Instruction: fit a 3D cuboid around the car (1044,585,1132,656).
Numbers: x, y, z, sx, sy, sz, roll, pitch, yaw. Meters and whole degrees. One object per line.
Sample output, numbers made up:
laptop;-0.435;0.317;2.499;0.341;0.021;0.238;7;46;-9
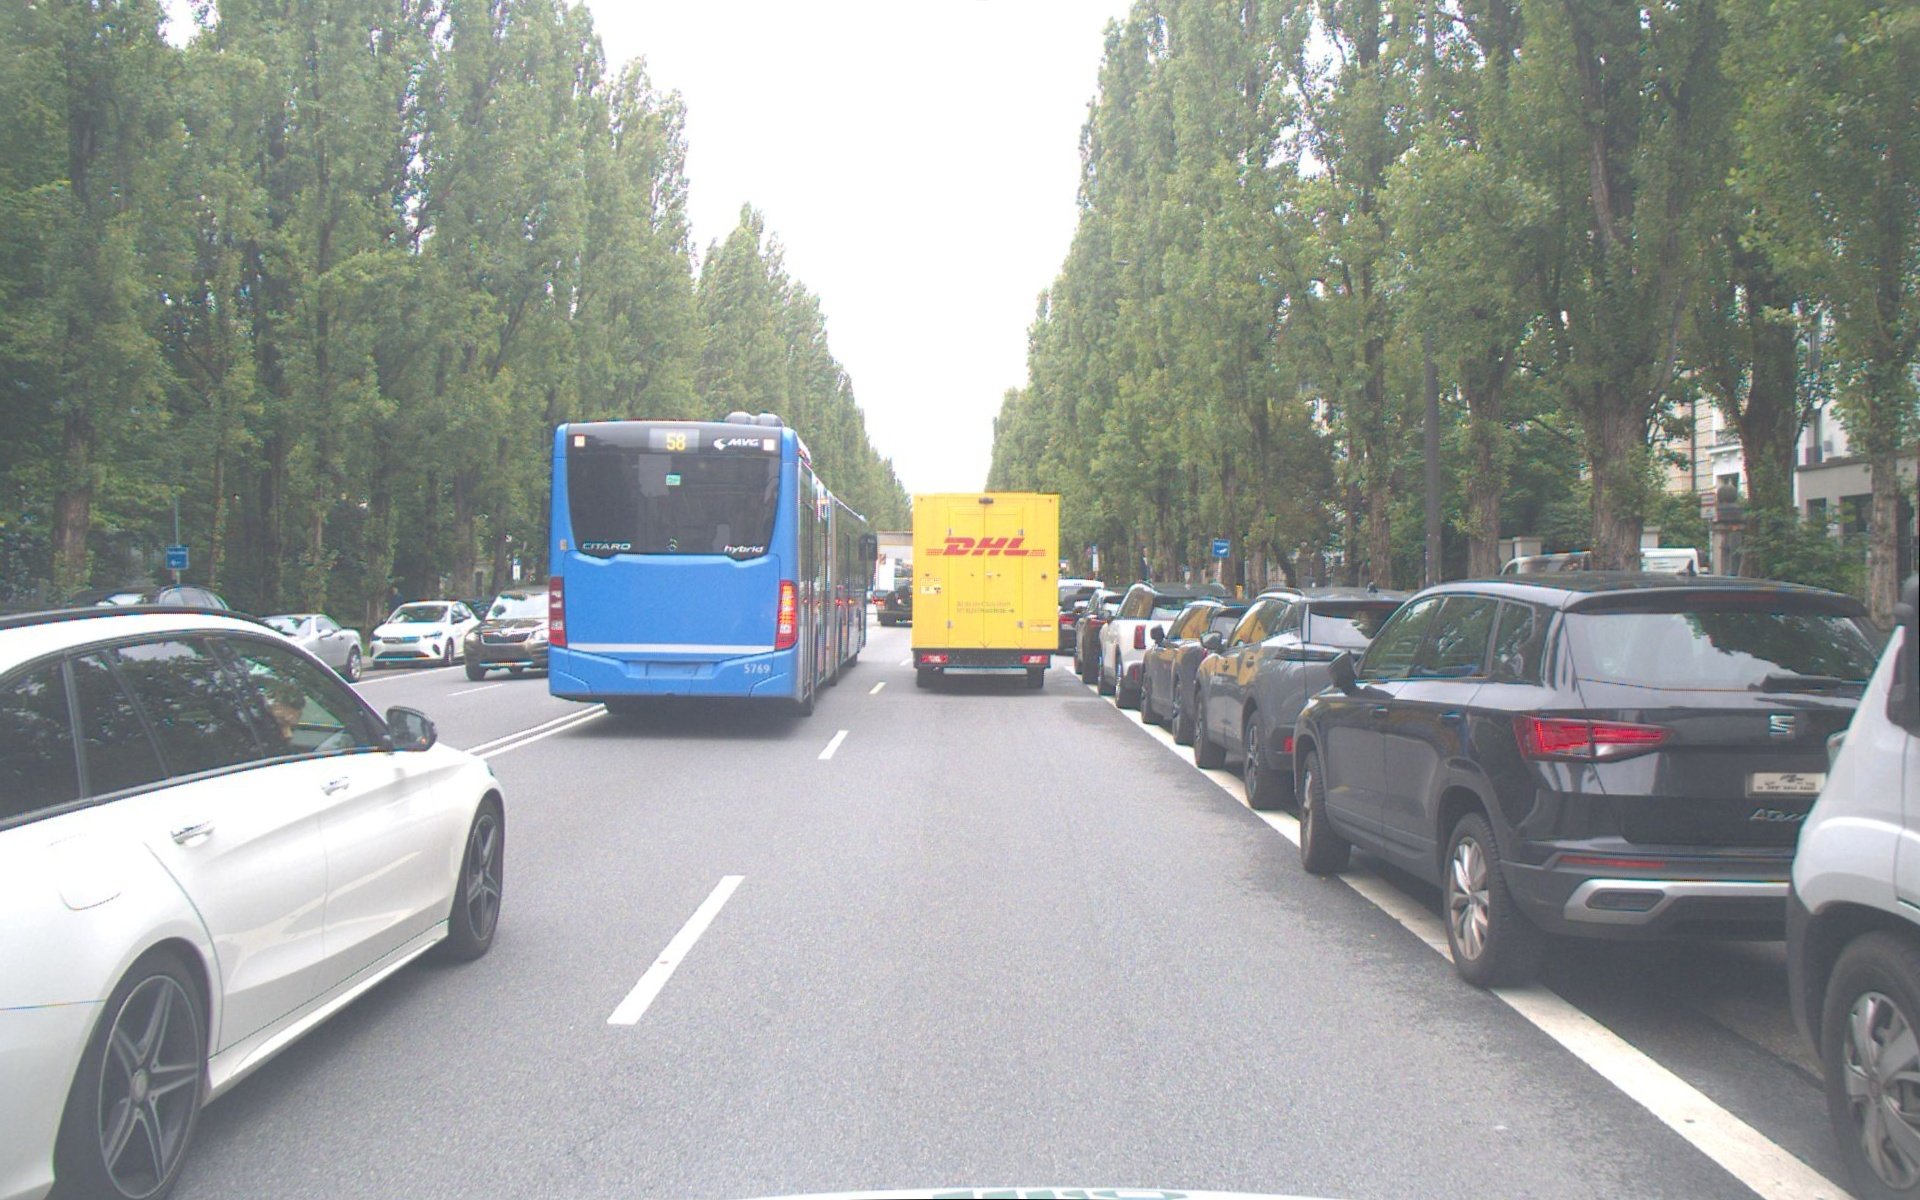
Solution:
car;2.993;0.454;39.414;1.824;1.579;4.000;0;0;1

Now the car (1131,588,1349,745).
car;2.924;0.635;18.058;1.600;1.471;4.148;2;0;-1

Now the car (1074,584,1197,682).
car;2.918;0.507;28.294;1.690;1.521;4.324;0;0;1

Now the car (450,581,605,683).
car;-7.872;0.537;30.478;1.748;1.685;4.113;-2;0;-1

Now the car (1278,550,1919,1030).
car;2.799;0.631;7.710;1.784;1.618;4.222;0;0;-1

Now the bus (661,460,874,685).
bus;-3.157;-0.452;29.849;2.813;3.361;9.788;0;0;-1

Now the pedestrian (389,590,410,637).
pedestrian;-21.568;0.517;63.654;0.587;1.769;0.640;-1;0;0

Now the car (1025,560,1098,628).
car;3.220;-0.213;53.279;2.010;2.049;5.692;-1;1;0

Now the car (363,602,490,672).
car;-12.169;0.805;37.970;1.651;1.437;4.004;-2;0;-1

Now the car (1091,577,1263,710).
car;2.864;0.526;22.665;1.744;1.609;4.146;1;0;-1

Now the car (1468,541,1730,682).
car;9.767;0.149;25.821;1.953;1.959;5.323;0;0;-1

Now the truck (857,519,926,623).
truck;-2.837;-1.166;69.081;2.661;4.034;9.214;-1;0;-2

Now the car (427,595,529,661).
car;-12.291;0.681;42.438;1.709;1.545;4.113;-2;0;-6

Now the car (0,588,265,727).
car;-11.857;0.728;23.661;1.842;1.687;4.717;-3;1;-1

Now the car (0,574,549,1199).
car;-2.707;0.677;4.961;1.788;1.480;4.582;0;0;0

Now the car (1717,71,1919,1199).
car;3.133;0.126;1.431;2.032;2.522;6.283;0;0;0

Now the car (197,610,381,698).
car;-11.782;0.897;29.320;1.548;1.327;4.029;-2;0;1

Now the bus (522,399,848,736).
bus;-2.971;-0.357;20.613;2.798;3.269;9.057;0;0;-2

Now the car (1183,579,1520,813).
car;2.862;0.621;12.961;1.618;1.530;4.113;1;0;-1

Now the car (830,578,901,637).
car;-3.030;0.207;53.917;1.994;1.833;4.507;-1;1;0

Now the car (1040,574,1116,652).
car;3.155;0.319;44.929;1.769;2.011;4.236;0;0;0

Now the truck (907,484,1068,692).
truck;0.349;-0.199;27.188;2.280;2.949;7.332;0;0;-1

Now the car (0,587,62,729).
car;-11.812;0.719;17.792;1.749;1.616;4.461;-3;1;1
